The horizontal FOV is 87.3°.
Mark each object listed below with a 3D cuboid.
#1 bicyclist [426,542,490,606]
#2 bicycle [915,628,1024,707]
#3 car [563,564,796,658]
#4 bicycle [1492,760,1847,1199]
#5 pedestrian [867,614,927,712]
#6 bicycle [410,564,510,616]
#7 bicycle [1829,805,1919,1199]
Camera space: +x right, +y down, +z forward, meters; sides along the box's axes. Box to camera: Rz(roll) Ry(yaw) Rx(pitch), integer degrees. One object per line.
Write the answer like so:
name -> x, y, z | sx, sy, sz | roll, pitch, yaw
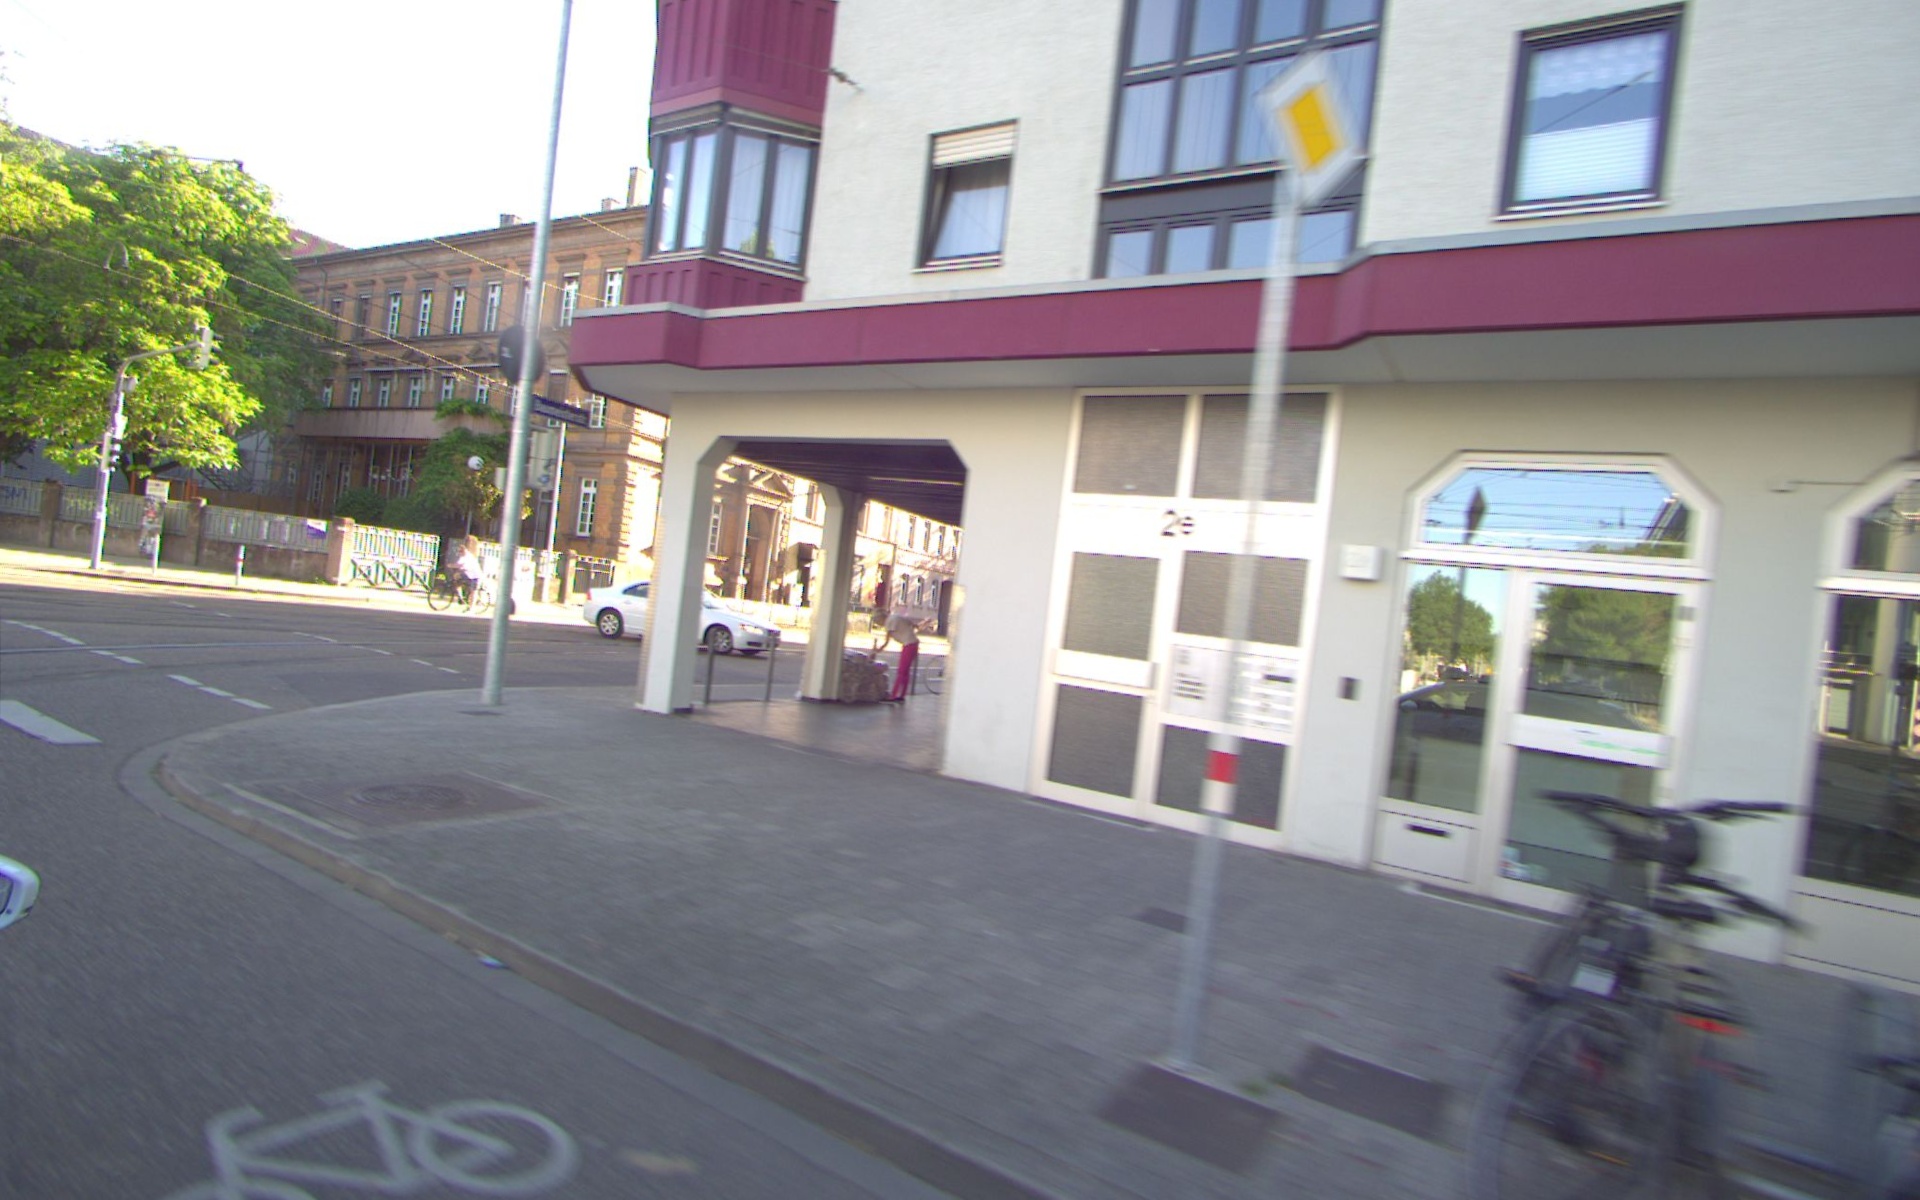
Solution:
bicyclist -> -13.290, -0.686, 26.654 | 0.993, 1.527, 0.928 | 8, 0, 21
bicycle -> 0.175, 1.216, 17.938 | 1.778, 1.214, 0.611 | 7, 0, -31
car -> -6.489, 0.260, 23.400 | 4.807, 1.473, 1.856 | 8, 0, 14
bicycle -> 1.992, 1.144, 2.866 | 0.537, 1.214, 1.802 | 6, -1, 36
pedestrian -> -0.946, 0.936, 15.147 | 0.644, 1.367, 0.663 | 8, 0, 5
bicycle -> -13.267, -0.231, 26.785 | 0.830, 1.132, 2.331 | 8, 0, 21
bicycle -> 2.543, 1.202, 2.377 | 0.488, 1.214, 1.623 | 7, 0, 36
